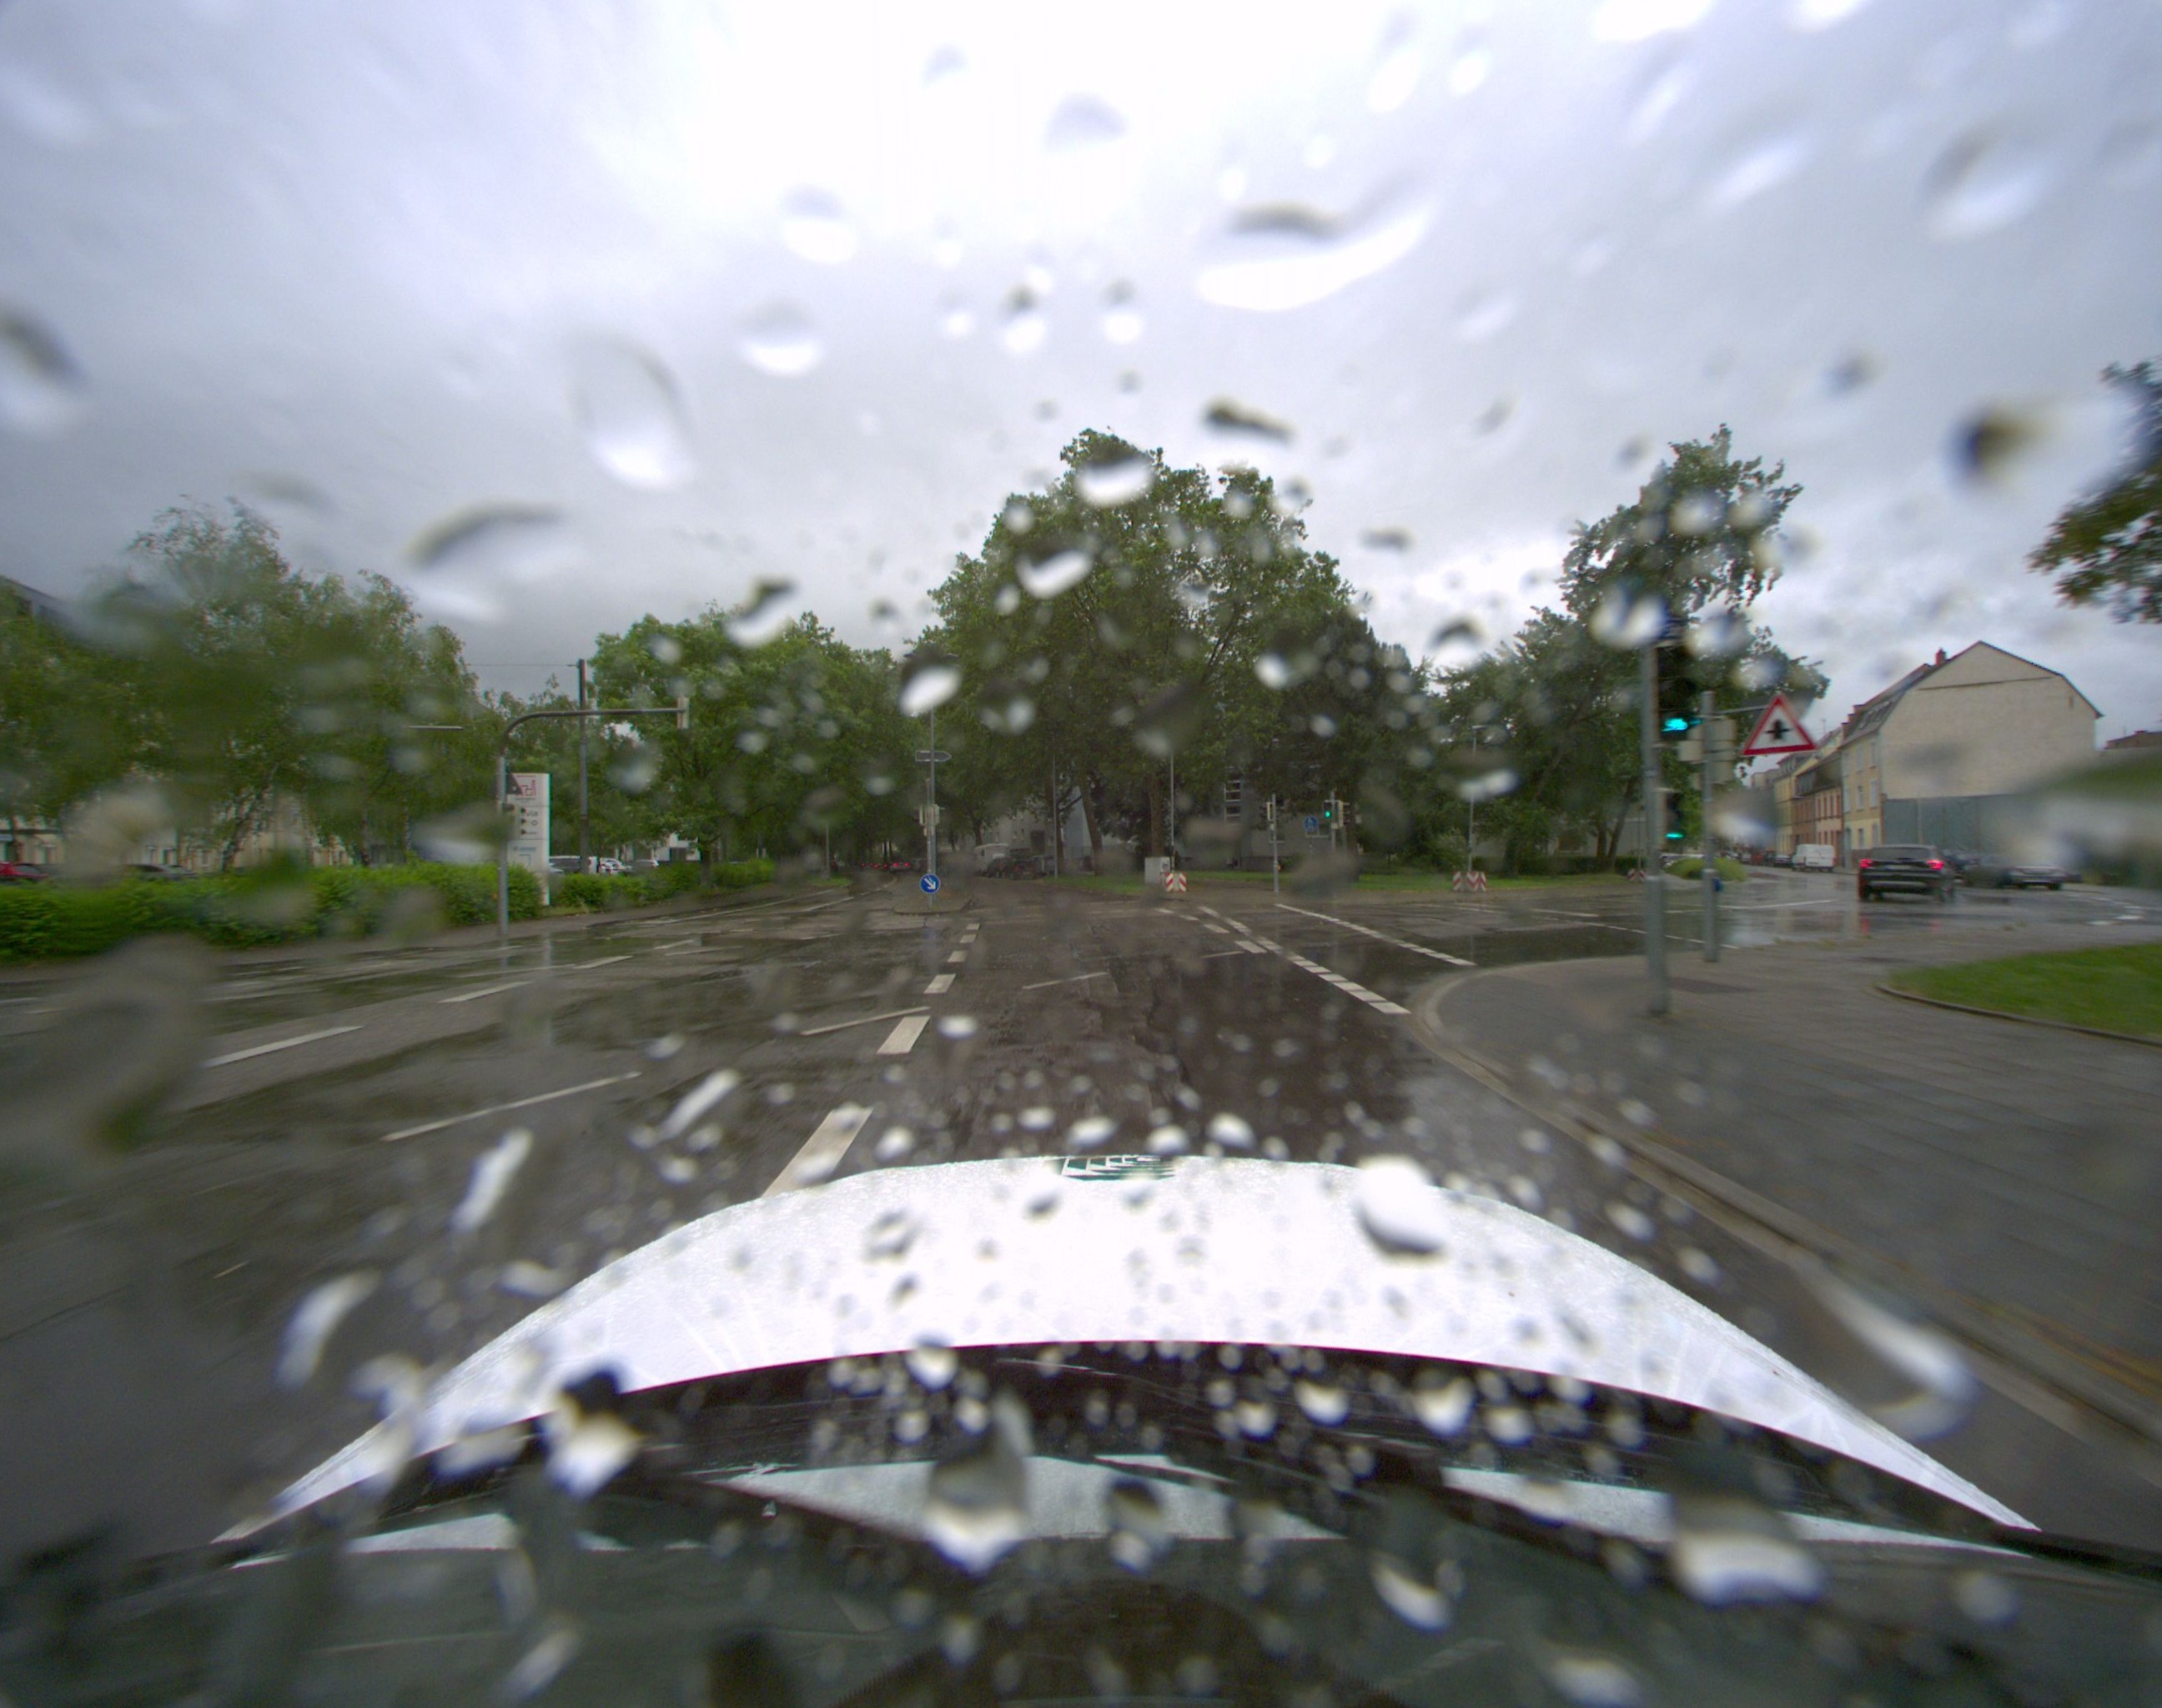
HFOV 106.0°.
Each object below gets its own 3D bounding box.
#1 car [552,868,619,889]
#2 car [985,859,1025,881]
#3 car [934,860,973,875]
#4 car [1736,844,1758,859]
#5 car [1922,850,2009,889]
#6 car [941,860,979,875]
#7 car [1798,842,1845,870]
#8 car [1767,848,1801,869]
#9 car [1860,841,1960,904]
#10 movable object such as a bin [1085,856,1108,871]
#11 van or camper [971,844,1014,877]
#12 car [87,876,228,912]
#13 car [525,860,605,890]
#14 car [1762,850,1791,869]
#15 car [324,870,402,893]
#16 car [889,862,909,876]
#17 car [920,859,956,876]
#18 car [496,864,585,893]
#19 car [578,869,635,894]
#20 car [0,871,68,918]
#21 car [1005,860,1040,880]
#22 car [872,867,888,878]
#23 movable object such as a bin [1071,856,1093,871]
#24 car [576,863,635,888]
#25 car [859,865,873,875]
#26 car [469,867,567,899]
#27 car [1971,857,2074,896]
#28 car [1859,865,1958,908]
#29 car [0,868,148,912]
[{"bbox_3d":[-37.467,1.844,61.689,3.998,1.551,1.874,0,-1,-19],"label":"car"},{"bbox_3d":[-6.048,1.271,64.406,1.923,1.620,4.420,0,-2,-22],"label":"car"},{"bbox_3d":[-14.112,1.460,90.335,1.780,1.601,4.025,0,-1,39],"label":"car"},{"bbox_3d":[93.068,-0.341,113.802,1.974,2.014,4.025,0,-1,34],"label":"car"},{"bbox_3d":[42.980,0.720,39.682,1.858,1.810,4.114,0,-1,33],"label":"car"},{"bbox_3d":[-12.862,1.414,86.896,1.780,1.601,3.792,0,-1,39],"label":"car"},{"bbox_3d":[61.980,0.175,68.212,2.327,2.208,4.642,0,-1,35],"label":"car"},{"bbox_3d":[69.961,0.437,81.064,2.096,2.014,4.025,0,-1,34],"label":"car"},{"bbox_3d":[25.241,0.521,24.806,4.329,1.744,1.975,0,-1,-44],"label":"car"},{"bbox_3d":[1.460,0.864,76.733,1.222,1.432,1.841,0,-1,-39],"label":"movable object such as a bin"},{"bbox_3d":[-7.921,0.571,72.162,2.326,2.807,6.819,0,-1,-19],"label":"van or camper"},{"bbox_3d":[-45.173,1.918,39.987,4.004,1.559,2.148,-1,0,-23],"label":"car"},{"bbox_3d":[-32.340,1.297,51.150,4.006,1.833,1.839,0,-1,-25],"label":"car"},{"bbox_3d":[76.533,0.572,89.714,1.974,2.014,4.025,0,-1,34],"label":"car"},{"bbox_3d":[-54.934,2.058,62.371,4.004,1.560,1.985,-1,0,-23],"label":"car"},{"bbox_3d":[-20.926,1.695,93.689,1.712,1.411,3.619,-3,1,-21],"label":"car"},{"bbox_3d":[-17.022,1.588,96.845,1.814,1.697,3.892,0,2,41],"label":"car"},{"bbox_3d":[-31.313,1.390,47.308,4.001,1.638,1.697,0,-1,-21],"label":"car"},{"bbox_3d":[-41.546,2.364,71.445,4.001,2.013,1.986,-1,0,-20],"label":"car"},{"bbox_3d":[-41.722,1.562,30.651,4.004,1.686,1.985,-1,0,-23],"label":"car"},{"bbox_3d":[-4.322,1.166,59.580,1.553,1.390,4.123,0,0,-18],"label":"car"},{"bbox_3d":[-27.957,2.604,113.133,1.712,1.411,3.619,-3,1,-21],"label":"car"},{"bbox_3d":[0.104,0.871,78.059,1.222,1.432,1.841,0,-1,-39],"label":"movable object such as a bin"},{"bbox_3d":[-40.454,1.802,69.452,4.001,2.013,1.986,-1,0,-20],"label":"car"},{"bbox_3d":[-34.282,2.538,130.026,1.712,1.411,3.619,-3,1,-21],"label":"car"},{"bbox_3d":[-30.246,1.515,43.918,4.006,1.638,1.984,0,-1,-25],"label":"car"},{"bbox_3d":[39.450,0.897,34.263,1.955,1.549,4.558,0,-1,38],"label":"car"},{"bbox_3d":[34.214,1.287,33.805,1.974,1.602,4.114,0,-1,33],"label":"car"},{"bbox_3d":[-43.645,1.510,35.112,4.004,1.686,1.985,-1,0,-23],"label":"car"}]
